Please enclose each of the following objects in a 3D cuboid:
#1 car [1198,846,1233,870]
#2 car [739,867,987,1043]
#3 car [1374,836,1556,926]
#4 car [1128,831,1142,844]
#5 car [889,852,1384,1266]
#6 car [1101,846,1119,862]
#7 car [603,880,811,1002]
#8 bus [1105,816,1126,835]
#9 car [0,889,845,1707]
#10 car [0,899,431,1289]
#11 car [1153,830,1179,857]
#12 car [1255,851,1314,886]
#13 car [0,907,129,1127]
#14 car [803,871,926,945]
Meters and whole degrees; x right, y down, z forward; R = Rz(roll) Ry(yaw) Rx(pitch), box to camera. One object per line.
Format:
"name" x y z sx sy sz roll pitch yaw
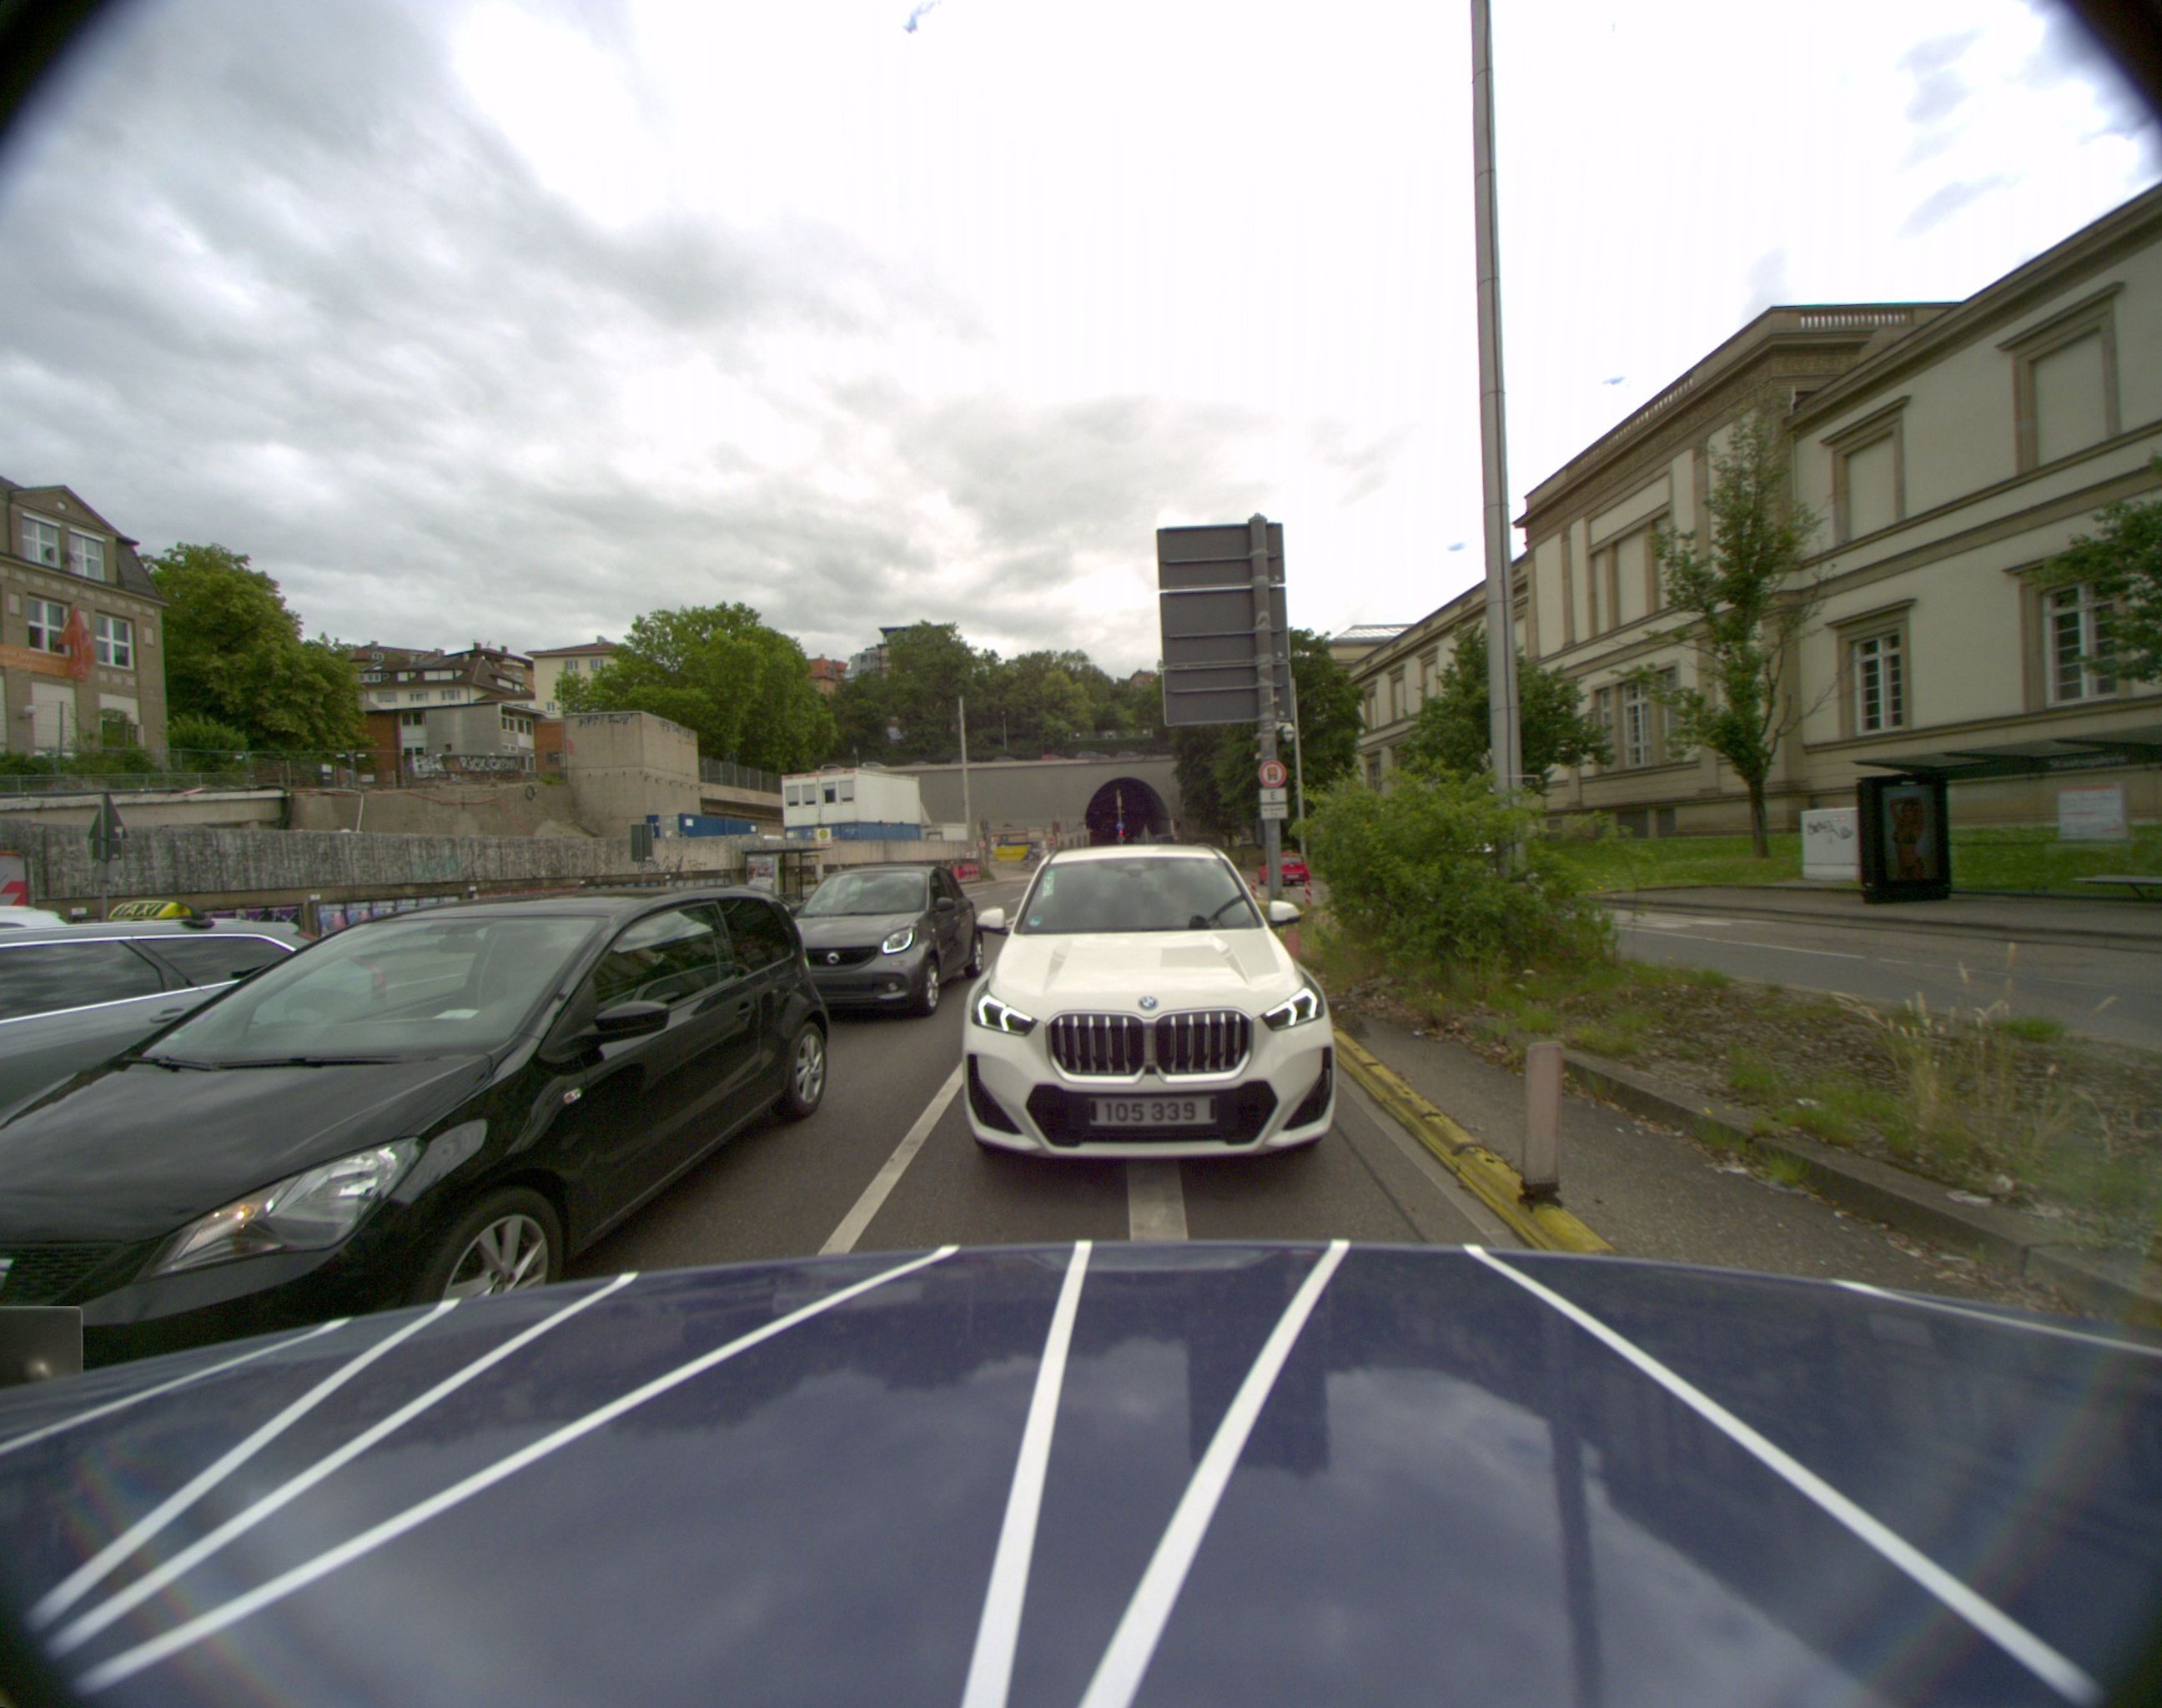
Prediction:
"car" 9.628 0.260 54.603 1.778 1.609 3.802 -2 1 -1
"car" -2.260 0.982 8.892 1.720 1.535 3.575 -2 0 2
"car" 8.340 0.514 17.009 1.875 1.681 4.267 -2 1 0
"car" 7.681 -2.294 108.131 1.946 1.714 4.000 -2 1 4
"car" 0.256 0.850 4.976 1.987 1.615 3.670 -2 1 1
"car" 2.929 0.014 75.883 1.680 1.450 3.807 -2 1 3
"car" -5.402 1.196 11.351 1.665 1.423 2.714 -2 1 1
"bus" 6.363 -5.253 140.625 3.171 3.129 9.118 -2 1 -1
"car" -2.578 1.020 3.343 1.829 1.450 3.700 -2 1 1
"car" -5.863 1.209 3.303 1.829 1.615 4.808 -2 1 1
"car" 8.519 -1.034 76.200 2.203 2.493 4.758 -2 1 2
"car" 9.284 0.626 34.936 1.646 1.469 3.574 -2 0 -2
"car" -9.113 1.321 4.444 1.680 1.615 4.209 -2 1 1
"car" -4.925 1.167 17.812 1.680 1.358 3.806 -2 1 1
